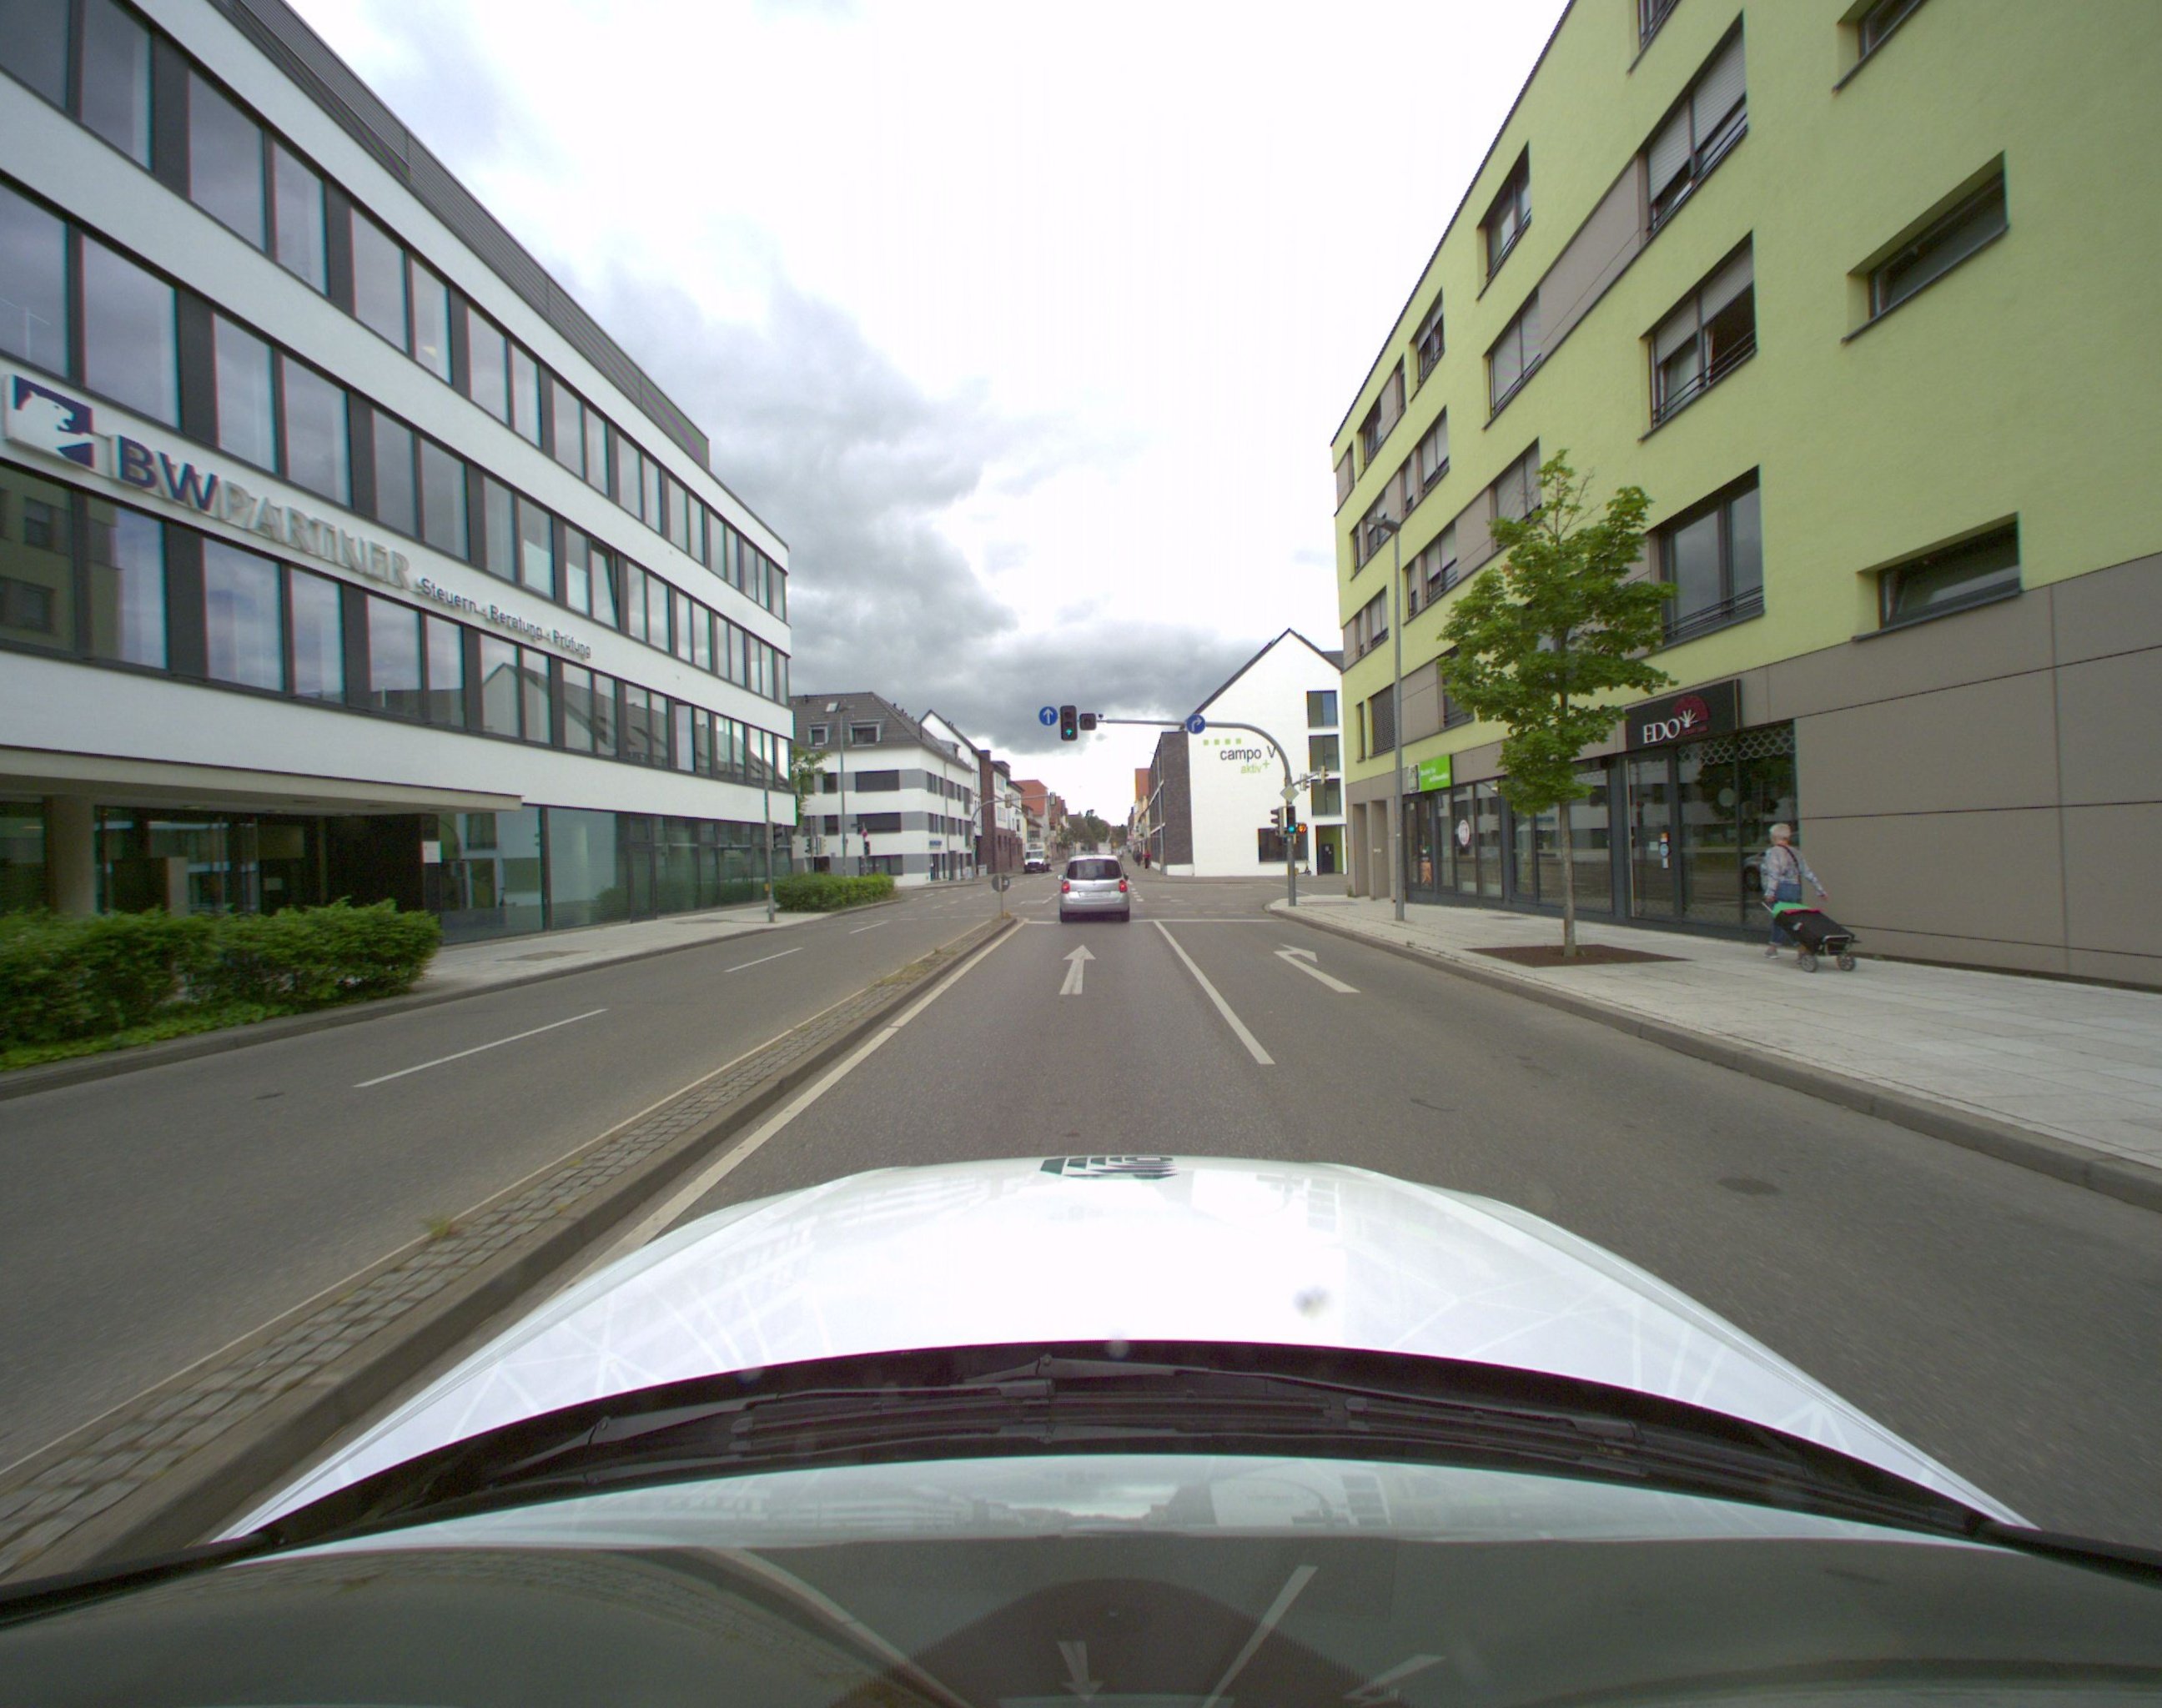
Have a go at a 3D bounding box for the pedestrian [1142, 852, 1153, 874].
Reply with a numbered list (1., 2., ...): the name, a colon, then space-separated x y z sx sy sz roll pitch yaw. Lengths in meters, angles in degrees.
1. pedestrian: 5.546 0.774 68.098 0.804 1.786 0.861 -5 0 2

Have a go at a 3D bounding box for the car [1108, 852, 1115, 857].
1. car: 8.239 0.177 222.412 1.805 1.354 4.003 -3 0 3

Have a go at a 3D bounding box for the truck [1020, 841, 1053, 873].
1. truck: -4.317 0.289 80.462 2.426 2.953 8.368 -1 0 2

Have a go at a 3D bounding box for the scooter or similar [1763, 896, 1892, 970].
1. scooter or similar: 7.920 0.828 8.676 0.590 0.673 0.824 -3 0 1

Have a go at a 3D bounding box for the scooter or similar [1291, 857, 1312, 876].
1. scooter or similar: 14.338 0.794 52.963 1.225 1.235 0.407 0 0 2

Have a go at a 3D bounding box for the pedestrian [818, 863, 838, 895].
1. pedestrian: -13.991 1.389 45.020 0.887 1.669 0.806 -3 3 -29

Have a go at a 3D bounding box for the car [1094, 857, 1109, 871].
1. car: 2.404 1.132 95.355 1.700 1.579 4.002 0 0 2

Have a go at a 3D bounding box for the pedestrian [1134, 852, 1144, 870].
1. pedestrian: 5.908 0.736 83.473 0.886 1.786 0.785 -5 0 2

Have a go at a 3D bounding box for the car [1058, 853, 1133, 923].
1. car: 0.389 0.764 20.518 1.700 1.579 4.002 0 0 2

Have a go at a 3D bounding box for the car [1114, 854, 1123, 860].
1. car: 8.291 0.690 180.346 1.805 1.354 4.003 -3 0 3

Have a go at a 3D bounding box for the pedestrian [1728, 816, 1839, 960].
1. pedestrian: 8.183 0.382 9.511 0.693 1.593 0.603 -3 0 1

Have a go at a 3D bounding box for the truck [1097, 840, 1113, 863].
1. truck: 4.212 -0.396 143.041 2.586 3.857 6.850 -2 0 1
